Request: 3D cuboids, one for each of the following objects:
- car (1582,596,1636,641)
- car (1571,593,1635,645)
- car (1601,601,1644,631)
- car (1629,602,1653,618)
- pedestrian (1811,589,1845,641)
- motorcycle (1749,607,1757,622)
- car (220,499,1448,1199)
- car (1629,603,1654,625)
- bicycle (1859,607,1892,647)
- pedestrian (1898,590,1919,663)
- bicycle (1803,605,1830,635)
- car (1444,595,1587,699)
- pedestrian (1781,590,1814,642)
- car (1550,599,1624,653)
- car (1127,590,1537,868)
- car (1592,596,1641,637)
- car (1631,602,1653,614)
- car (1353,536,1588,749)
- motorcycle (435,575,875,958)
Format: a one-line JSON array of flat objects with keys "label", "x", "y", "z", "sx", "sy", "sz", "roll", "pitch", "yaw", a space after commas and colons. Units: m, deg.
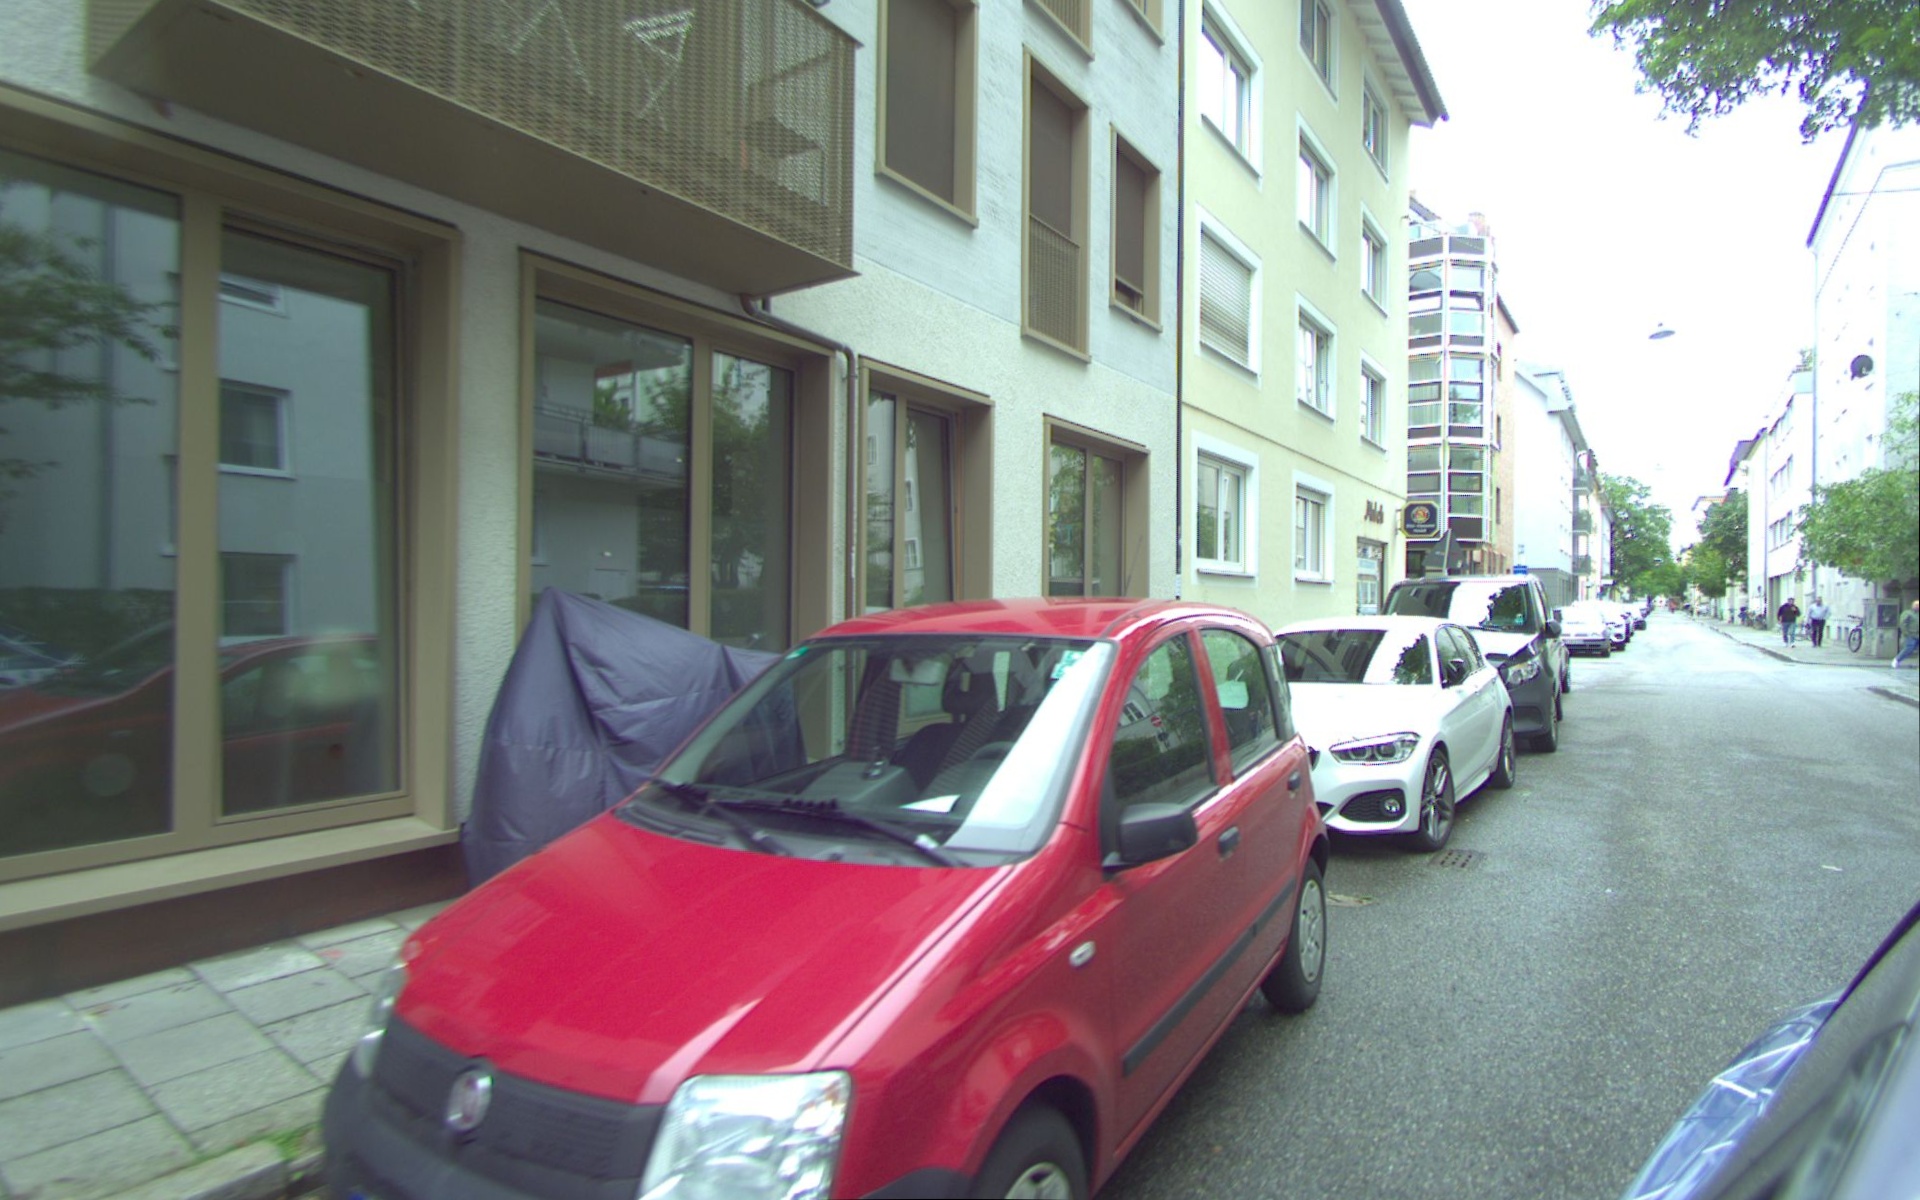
[{"label": "car", "x": 24.184, "y": 0.658, "z": 37.709, "sx": 1.609, "sy": 1.577, "sz": 3.762, "roll": -1, "pitch": -1, "yaw": 33}, {"label": "car", "x": 21.693, "y": 0.604, "z": 34.114, "sx": 1.714, "sy": 1.636, "sz": 4.401, "roll": -1, "pitch": -1, "yaw": 33}, {"label": "car", "x": 32.745, "y": 0.775, "z": 49.972, "sx": 1.610, "sy": 1.394, "sz": 3.768, "roll": -1, "pitch": -1, "yaw": 35}, {"label": "car", "x": 55.451, "y": 0.826, "z": 82.373, "sx": 1.516, "sy": 1.282, "sz": 3.169, "roll": -1, "pitch": -1, "yaw": 35}, {"label": "pedestrian", "x": 29.715, "y": 0.517, "z": 34.675, "sx": 0.691, "sy": 1.750, "sz": 0.830, "roll": -5, "pitch": -3, "yaw": 36}, {"label": "motorcycle", "x": 53.235, "y": 0.978, "z": 67.936, "sx": 0.322, "sy": 0.986, "sz": 1.936, "roll": -1, "pitch": -1, "yaw": 35}, {"label": "car", "x": 0.213, "y": 0.671, "z": 3.364, "sx": 1.767, "sy": 1.544, "sz": 4.012, "roll": -2, "pitch": -1, "yaw": 37}, {"label": "car", "x": 41.270, "y": 0.847, "z": 61.301, "sx": 1.183, "sy": 1.337, "sz": 2.744, "roll": -1, "pitch": -1, "yaw": 35}, {"label": "bicycle", "x": 26.690, "y": 0.779, "z": 29.525, "sx": 0.429, "sy": 1.109, "sz": 1.683, "roll": -2, "pitch": -1, "yaw": 33}, {"label": "pedestrian", "x": 22.793, "y": 0.614, "z": 23.935, "sx": 0.687, "sy": 1.699, "sz": 0.849, "roll": -3, "pitch": -2, "yaw": 33}, {"label": "bicycle", "x": 34.743, "y": 0.799, "z": 41.073, "sx": 0.445, "sy": 1.209, "sz": 1.486, "roll": -1, "pitch": -1, "yaw": 25}, {"label": "car", "x": 9.089, "y": 0.693, "z": 16.443, "sx": 1.629, "sy": 1.490, "sz": 3.492, "roll": -2, "pitch": -1, "yaw": 35}, {"label": "pedestrian", "x": 29.081, "y": 0.555, "z": 35.156, "sx": 0.717, "sy": 1.750, "sz": 0.830, "roll": -5, "pitch": -3, "yaw": 36}, {"label": "car", "x": 18.437, "y": 0.713, "z": 29.683, "sx": 1.714, "sy": 1.453, "sz": 4.306, "roll": -1, "pitch": -1, "yaw": 33}, {"label": "car", "x": 3.066, "y": 0.710, "z": 7.687, "sx": 1.763, "sy": 1.480, "sz": 4.322, "roll": -2, "pitch": -1, "yaw": 36}, {"label": "car", "x": 27.197, "y": 0.659, "z": 41.957, "sx": 1.608, "sy": 1.600, "sz": 4.003, "roll": -1, "pitch": -1, "yaw": 33}, {"label": "car", "x": 76.792, "y": 0.917, "z": 113.892, "sx": 1.987, "sy": 1.282, "sz": 3.949, "roll": -1, "pitch": -1, "yaw": 35}, {"label": "car", "x": 6.254, "y": 0.426, "z": 12.066, "sx": 1.982, "sy": 2.002, "sz": 4.827, "roll": -2, "pitch": -1, "yaw": 33}, {"label": "motorcycle", "x": -1.367, "y": 0.640, "z": 4.909, "sx": 0.803, "sy": 1.441, "sz": 1.907, "roll": 4, "pitch": 2, "yaw": 36}]
